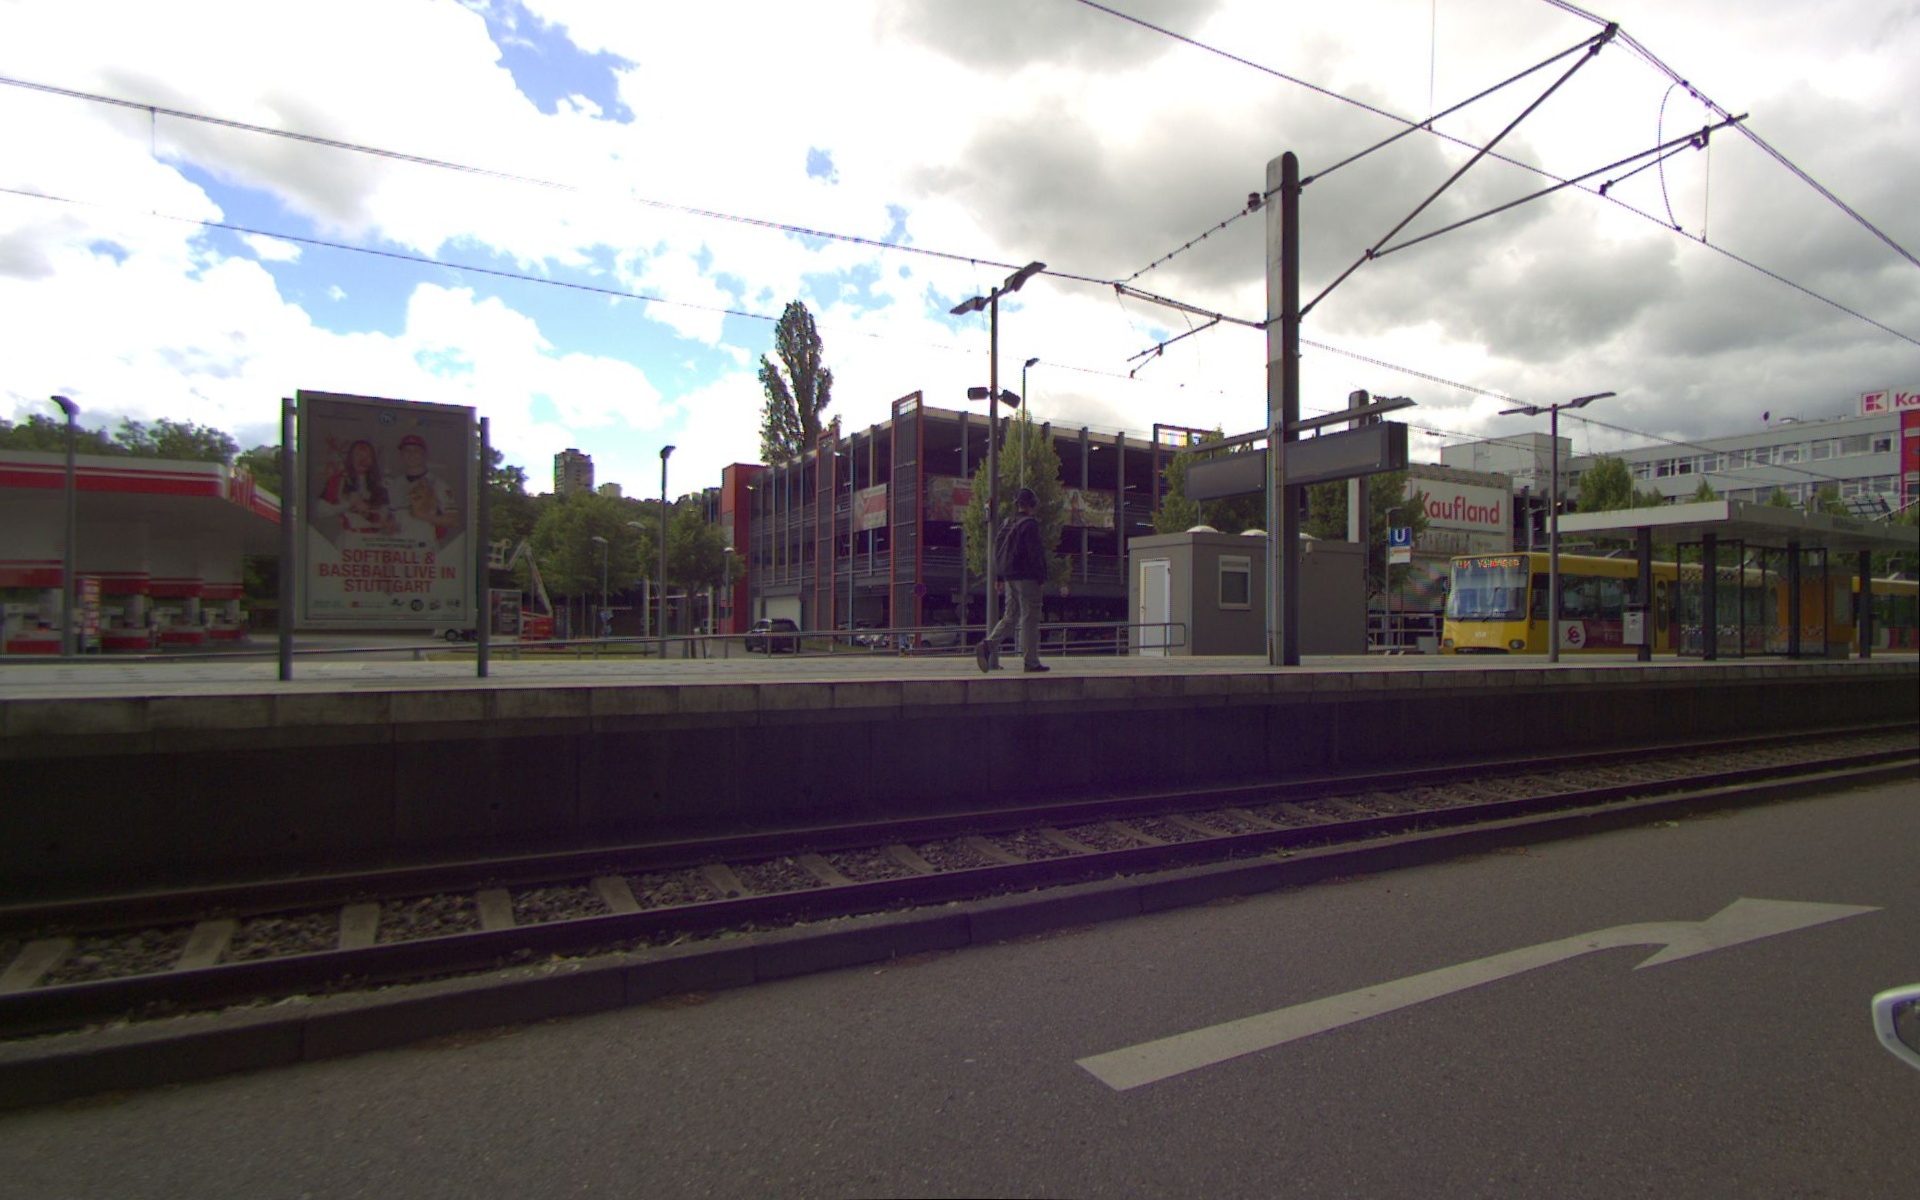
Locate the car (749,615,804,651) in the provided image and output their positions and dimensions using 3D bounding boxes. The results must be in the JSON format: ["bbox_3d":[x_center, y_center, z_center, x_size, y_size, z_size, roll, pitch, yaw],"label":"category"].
[{"bbox_3d":[-9.137,1.608,49.840,1.625,1.728,3.785,1,-1,-27],"label":"car"}]

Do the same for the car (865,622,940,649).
[{"bbox_3d":[-2.926,1.819,51.399,3.500,1.327,1.527,1,-1,-30],"label":"car"}]

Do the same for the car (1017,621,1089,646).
[{"bbox_3d":[5.563,2.006,59.894,3.953,1.476,1.814,1,-1,-30],"label":"car"}]

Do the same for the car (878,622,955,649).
[{"bbox_3d":[-2.134,1.774,49.698,3.500,1.327,1.528,2,-3,-30],"label":"car"}]

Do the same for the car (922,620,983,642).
[{"bbox_3d":[-0.515,2.197,70.544,3.916,1.476,1.760,1,-1,-30],"label":"car"}]

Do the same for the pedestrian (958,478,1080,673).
[{"bbox_3d":[0.561,-0.199,9.637,0.926,1.767,0.745,1,-3,-30],"label":"pedestrian"}]

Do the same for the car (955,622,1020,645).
[{"bbox_3d":[1.833,2.209,66.294,3.953,1.476,1.814,1,-1,-30],"label":"car"}]

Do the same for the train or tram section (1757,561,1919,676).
[{"bbox_3d":[37.649,0.823,39.655,18.402,3.879,2.745,1,-2,-29],"label":"train or tram section"}]

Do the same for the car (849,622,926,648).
[{"bbox_3d":[-3.888,1.907,54.300,3.754,1.327,1.842,2,-3,-29],"label":"car"}]

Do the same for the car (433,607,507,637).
[{"bbox_3d":[-30.658,1.413,62.894,4.013,1.775,1.900,2,-3,-32],"label":"car"}]

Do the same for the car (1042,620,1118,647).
[{"bbox_3d":[6.881,1.960,57.630,3.952,1.493,1.985,2,-3,-29],"label":"car"}]

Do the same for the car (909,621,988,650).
[{"bbox_3d":[-0.538,1.685,47.693,3.500,1.327,1.528,2,-3,-30],"label":"car"}]

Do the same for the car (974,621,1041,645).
[{"bbox_3d":[3.054,2.107,64.003,3.955,1.476,1.813,1,-1,-32],"label":"car"}]

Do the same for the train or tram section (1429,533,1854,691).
[{"bbox_3d":[21.540,0.536,30.751,18.403,3.933,2.745,1,-2,-29],"label":"train or tram section"}]

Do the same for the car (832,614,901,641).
[{"bbox_3d":[-5.247,1.551,56.464,3.517,1.433,1.709,2,-3,-29],"label":"car"}]

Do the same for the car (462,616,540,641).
[{"bbox_3d":[-27.034,1.717,59.187,4.013,1.383,1.900,2,-3,-31],"label":"car"}]

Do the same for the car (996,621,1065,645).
[{"bbox_3d":[4.390,2.036,62.208,3.953,1.476,1.814,1,-1,-30],"label":"car"}]

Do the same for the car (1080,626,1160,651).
[{"bbox_3d":[8.692,2.090,54.688,3.952,1.327,1.985,2,-3,-29],"label":"car"}]
